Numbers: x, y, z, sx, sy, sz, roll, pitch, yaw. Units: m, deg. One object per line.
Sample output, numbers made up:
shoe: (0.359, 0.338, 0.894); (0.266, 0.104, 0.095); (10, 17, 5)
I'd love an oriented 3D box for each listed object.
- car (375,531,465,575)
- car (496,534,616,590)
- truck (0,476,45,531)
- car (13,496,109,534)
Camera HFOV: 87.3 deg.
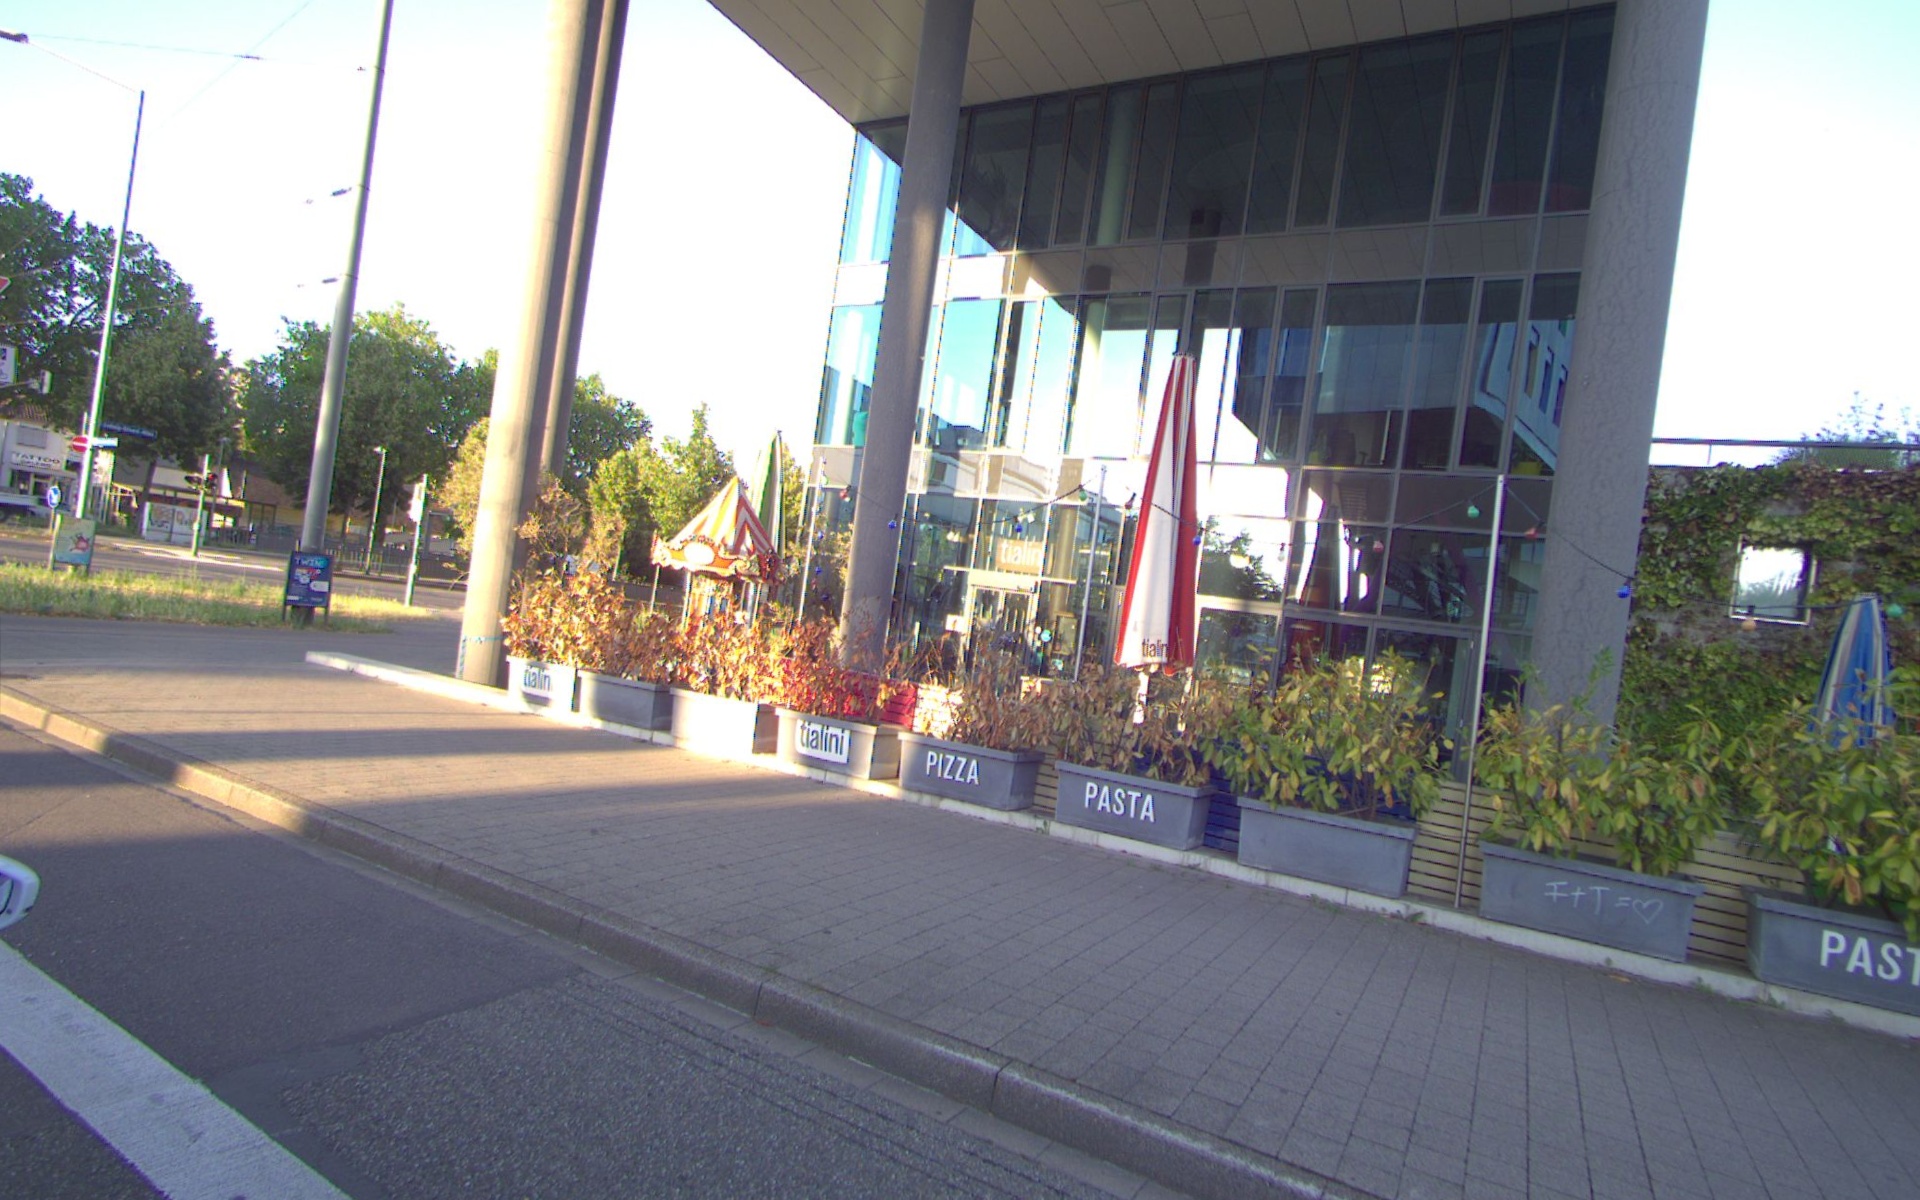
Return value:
car: (-42.618, -3.691, 79.532); (2.197, 2.581, 5.594); (7, -2, 39)
car: (-26.862, -2.464, 67.234); (2.765, 2.666, 6.931); (6, -2, 32)
truck: (-41.505, -4.344, 41.131); (2.034, 2.078, 5.567); (7, -2, 32)
car: (-50.192, -4.727, 56.225); (1.641, 1.456, 3.736); (6, -2, 41)
